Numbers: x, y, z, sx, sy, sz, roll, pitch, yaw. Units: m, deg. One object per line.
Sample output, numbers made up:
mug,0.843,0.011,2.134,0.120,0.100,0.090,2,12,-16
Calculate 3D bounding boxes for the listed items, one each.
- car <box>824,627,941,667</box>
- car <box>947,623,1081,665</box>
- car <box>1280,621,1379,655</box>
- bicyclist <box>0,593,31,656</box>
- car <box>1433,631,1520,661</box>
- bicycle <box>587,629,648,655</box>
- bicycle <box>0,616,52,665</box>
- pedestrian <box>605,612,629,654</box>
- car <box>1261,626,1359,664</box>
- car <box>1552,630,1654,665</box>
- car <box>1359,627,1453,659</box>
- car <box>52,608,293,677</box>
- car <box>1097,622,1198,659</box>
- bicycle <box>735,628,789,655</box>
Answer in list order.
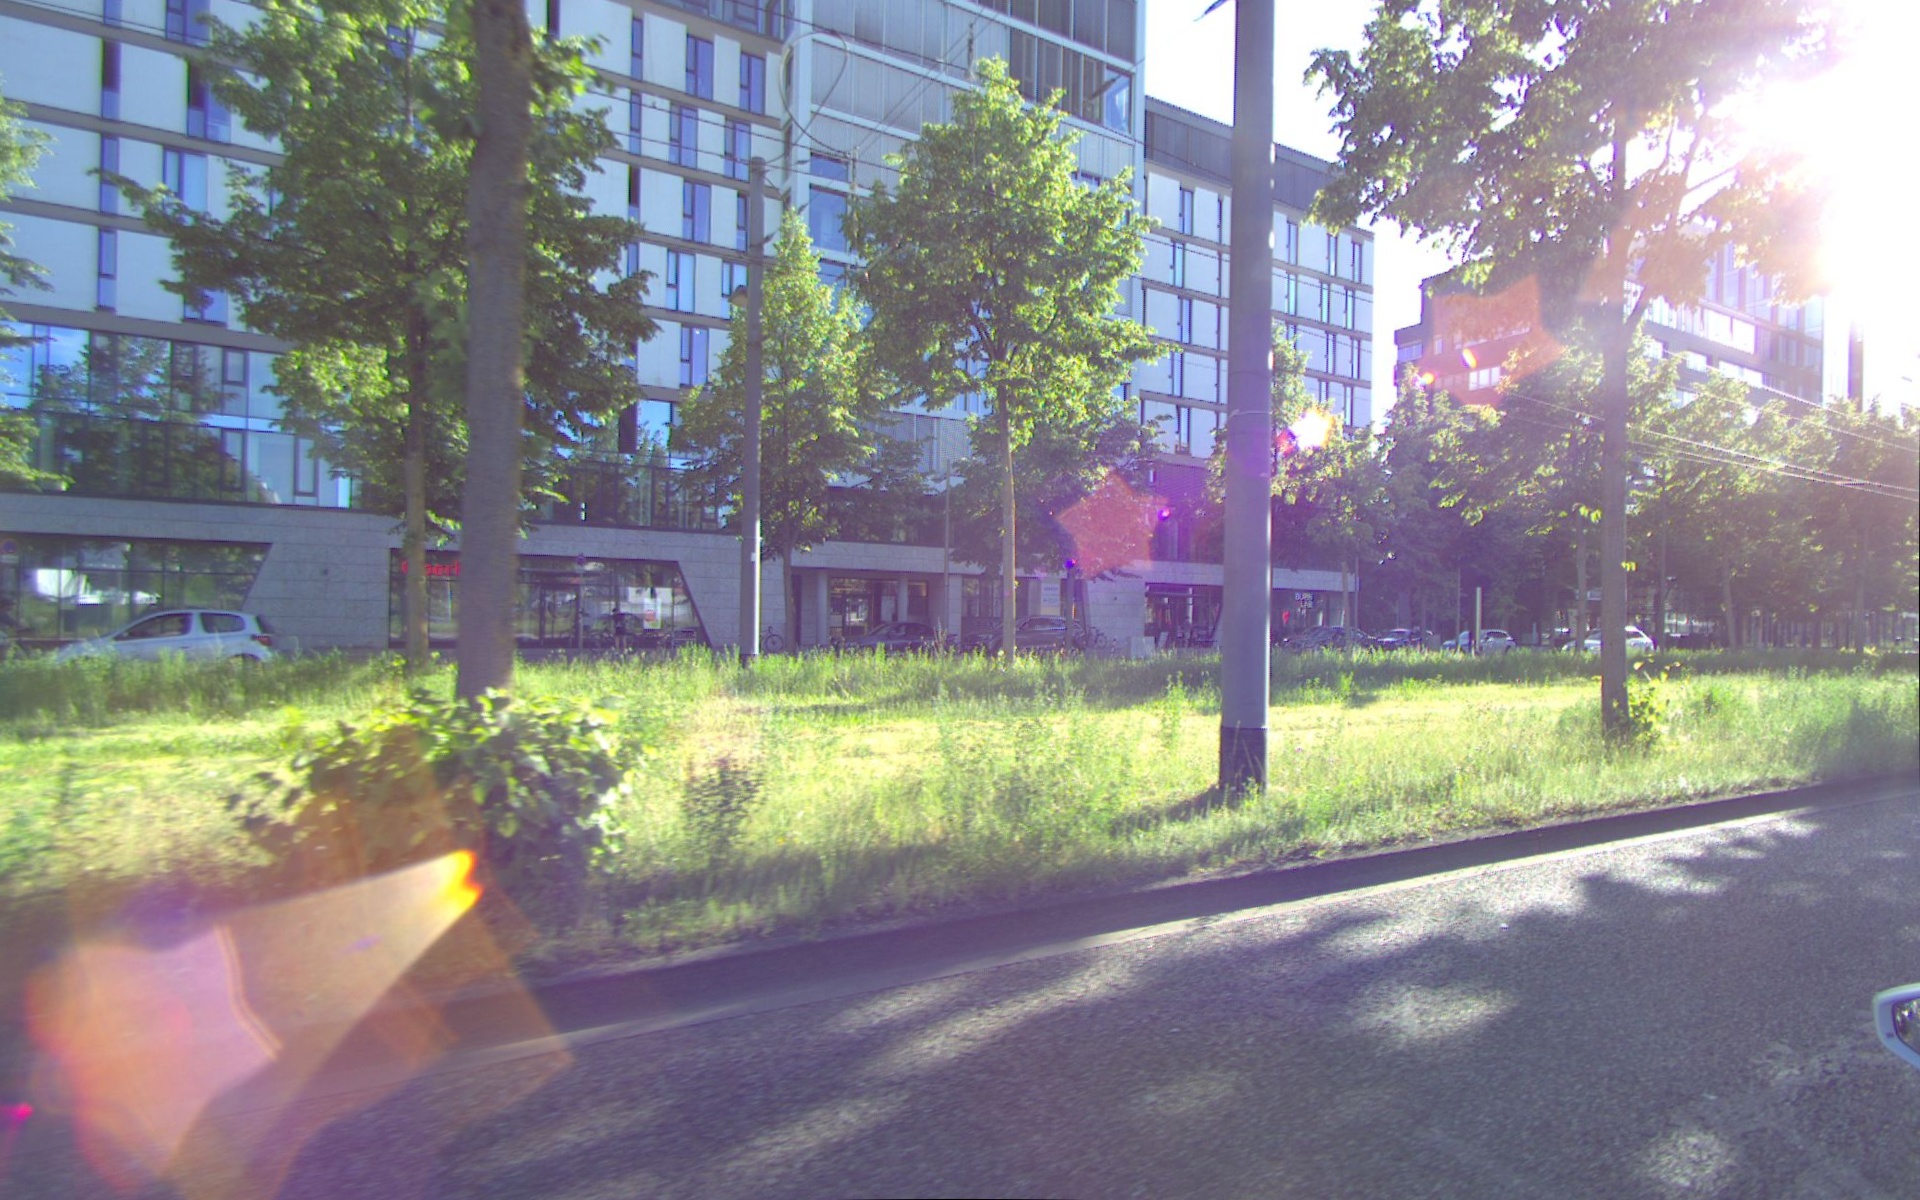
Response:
car,-2.575,1.558,33.449,3.541,1.223,1.660,2,-1,-31
car,1.986,1.587,36.427,4.749,1.438,1.660,1,-1,-31
car,16.603,1.715,45.107,4.491,1.439,1.707,1,-1,-30
bicyclist,-22.811,0.587,23.927,0.821,1.483,0.717,1,0,-28
car,25.992,2.293,50.516,4.491,1.439,1.707,1,-1,-30
bicycle,-12.332,1.515,36.162,1.991,0.892,0.539,2,-1,-31
bicycle,-22.796,0.955,23.937,1.551,1.135,0.729,1,0,-28
pedestrian,-12.193,1.176,35.680,0.682,1.431,0.406,3,-1,-30
car,17.666,2.231,50.607,5.068,1.801,1.789,1,1,-30
car,26.263,1.902,40.996,4.260,1.309,1.789,0,-1,-31
car,21.207,2.055,47.764,4.489,1.439,1.708,2,-1,-29
car,-15.310,0.810,19.781,3.442,1.254,1.761,1,-1,-29
car,7.379,1.581,39.435,3.710,1.372,1.725,1,-1,-31
bicycle,-7.682,1.607,38.988,1.960,0.985,0.539,3,-1,-31
